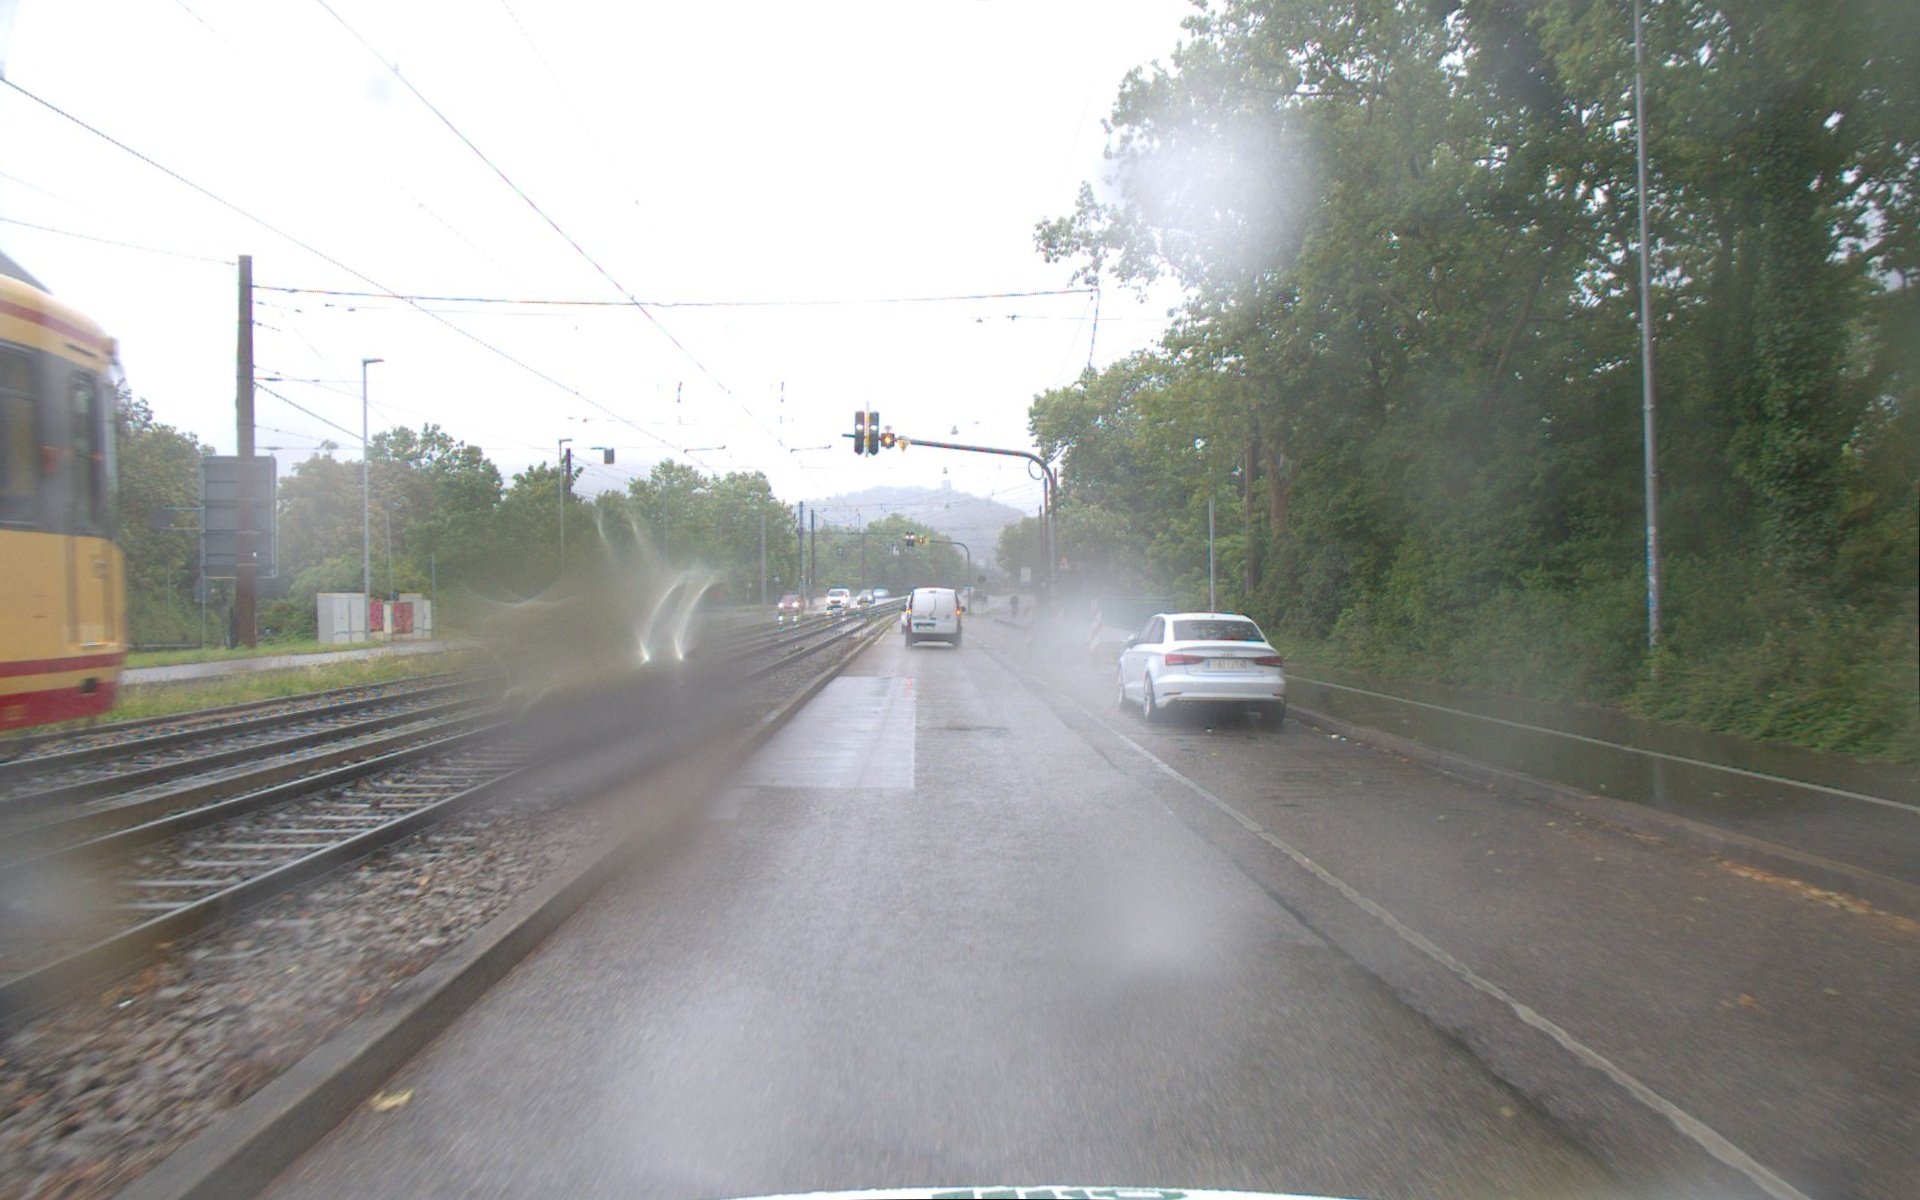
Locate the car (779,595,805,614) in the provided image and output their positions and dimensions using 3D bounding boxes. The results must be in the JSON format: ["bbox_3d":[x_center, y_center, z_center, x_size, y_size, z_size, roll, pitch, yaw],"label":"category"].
[{"bbox_3d":[-13.310,0.363,131.381,1.783,1.422,3.999,-1,0,-2],"label":"car"}]

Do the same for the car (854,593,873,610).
[{"bbox_3d":[-11.112,0.197,191.126,1.953,1.982,3.999,0,-1,0],"label":"car"}]

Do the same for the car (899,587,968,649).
[{"bbox_3d":[-0.786,0.541,51.590,1.952,1.881,4.001,0,0,2],"label":"car"}]

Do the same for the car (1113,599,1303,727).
[{"bbox_3d":[3.242,0.774,22.471,1.782,1.512,4.479,1,0,-1],"label":"car"}]

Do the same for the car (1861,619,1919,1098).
[{"bbox_3d":[3.924,0.809,3.322,1.776,1.485,4.344,1,0,-1],"label":"car"}]

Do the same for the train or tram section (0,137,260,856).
[{"bbox_3d":[-7.004,-0.627,8.204,2.753,4.222,10.267,0,-1,-1],"label":"train or tram section"}]

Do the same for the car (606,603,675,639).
[{"bbox_3d":[-13.329,0.844,69.316,1.953,1.429,5.384,-1,0,-2],"label":"car"}]

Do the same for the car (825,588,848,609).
[{"bbox_3d":[-12.286,-0.127,164.571,1.953,2.049,3.999,0,-1,0],"label":"car"}]
